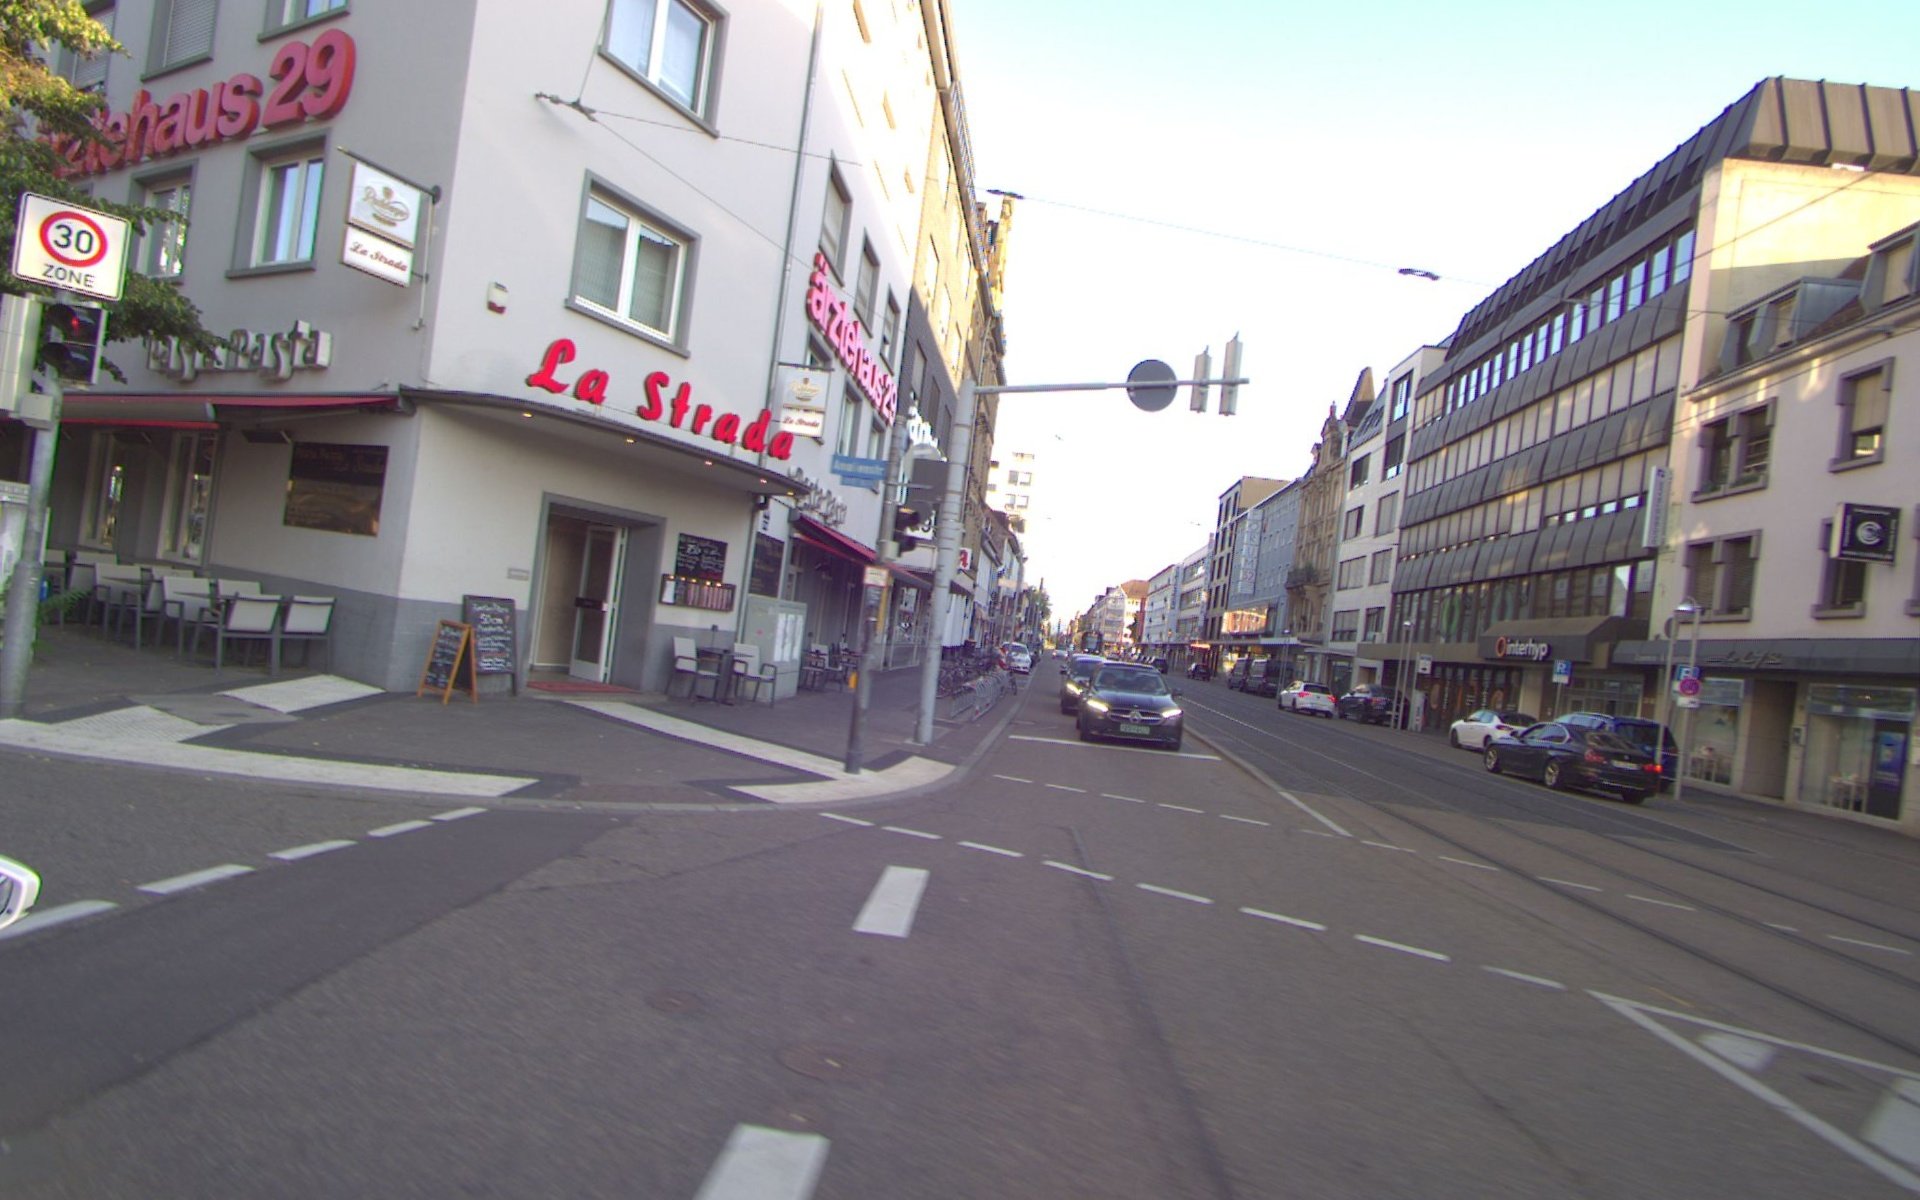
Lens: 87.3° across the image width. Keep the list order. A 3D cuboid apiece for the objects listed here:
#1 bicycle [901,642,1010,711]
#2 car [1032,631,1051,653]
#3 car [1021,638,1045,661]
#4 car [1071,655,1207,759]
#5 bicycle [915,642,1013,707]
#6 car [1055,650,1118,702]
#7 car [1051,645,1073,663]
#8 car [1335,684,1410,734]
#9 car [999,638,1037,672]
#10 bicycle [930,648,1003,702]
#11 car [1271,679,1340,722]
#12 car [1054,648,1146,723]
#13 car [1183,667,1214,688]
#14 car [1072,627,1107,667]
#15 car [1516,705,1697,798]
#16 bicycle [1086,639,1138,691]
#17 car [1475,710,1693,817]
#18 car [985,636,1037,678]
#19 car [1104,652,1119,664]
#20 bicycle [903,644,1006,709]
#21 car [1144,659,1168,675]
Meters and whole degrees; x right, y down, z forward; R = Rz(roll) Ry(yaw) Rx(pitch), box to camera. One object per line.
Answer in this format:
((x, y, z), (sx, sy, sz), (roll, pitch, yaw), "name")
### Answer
((-0.089, 1.689, 22.352), (2.253, 1.206, 0.656), (8, -2, 1), "bicycle")
((11.223, 5.786, 138.484), (1.962, 2.521, 4.518), (7, -3, 8), "car")
((7.089, 4.803, 97.144), (1.954, 1.836, 5.066), (7, -4, 6), "car")
((3.261, 1.920, 19.204), (1.944, 1.487, 4.484), (5, -2, 4), "car")
((0.105, 1.858, 25.223), (2.254, 1.206, 0.656), (10, 0, 0), "bicycle")
((4.247, 2.582, 34.130), (1.736, 1.435, 3.687), (7, -3, 4), "car")
((10.981, 5.808, 108.069), (1.962, 1.546, 4.519), (7, -4, 8), "car")
((18.010, 4.720, 44.051), (1.779, 1.649, 3.755), (10, -2, 6), "car")
((3.621, 3.439, 62.228), (1.954, 1.723, 4.992), (7, -4, 6), "car")
((0.168, 1.978, 26.477), (1.774, 1.169, 0.678), (8, -3, 0), "bicycle")
((15.571, 4.505, 45.520), (1.739, 1.399, 4.515), (10, -2, 6), "car")
((3.568, 2.145, 26.356), (1.962, 1.542, 4.401), (4, -1, 4), "car")
((22.842, 7.411, 96.496), (2.030, 1.585, 4.515), (11, -2, 6), "car")
((15.577, 5.814, 121.650), (2.914, 4.089, 12.270), (7, -4, 4), "car")
((16.684, 3.849, 26.289), (1.962, 1.722, 4.516), (7, -2, 6), "car")
((5.604, 2.368, 37.294), (0.848, 1.651, 3.051), (8, -1, -8), "bicycle")
((13.290, 3.426, 21.824), (1.962, 1.436, 4.512), (8, -1, 4), "car")
((2.583, 2.871, 49.963), (1.954, 1.723, 4.993), (7, -4, 8), "car")
((25.616, 9.829, 170.412), (1.963, 1.585, 4.515), (11, -2, 6), "car")
((-0.122, 1.784, 23.607), (2.253, 1.206, 0.656), (8, -2, 0), "bicycle")
((20.202, 6.896, 103.774), (1.761, 1.186, 4.515), (11, -2, 6), "car")
